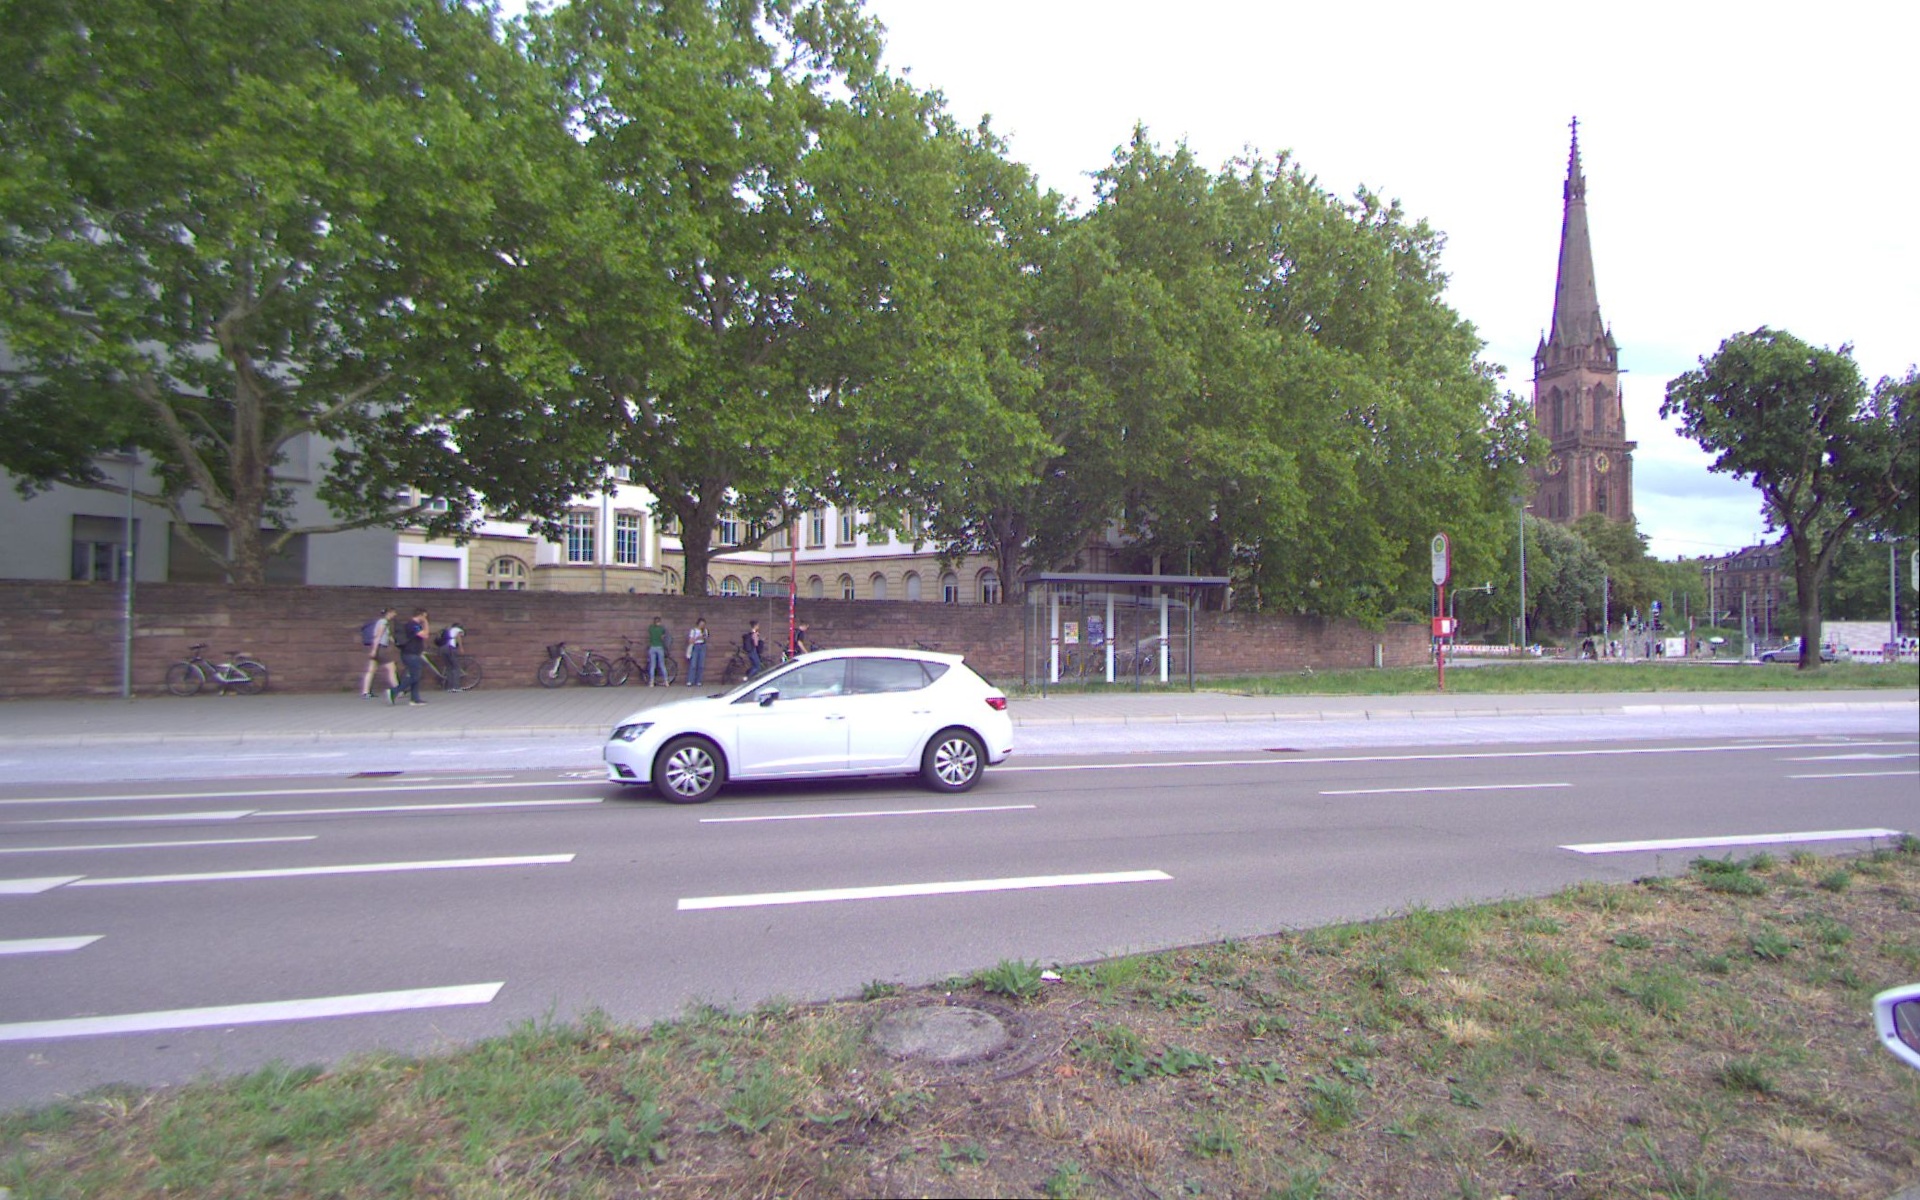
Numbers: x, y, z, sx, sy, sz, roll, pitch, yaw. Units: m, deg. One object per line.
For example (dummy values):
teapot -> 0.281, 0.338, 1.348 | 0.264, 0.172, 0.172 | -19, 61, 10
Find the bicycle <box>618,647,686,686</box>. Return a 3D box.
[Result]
bicycle -> -7.410, 1.596, 24.189 | 1.505, 0.890, 0.345 | 2, 0, -32

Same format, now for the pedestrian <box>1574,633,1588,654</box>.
pedestrian -> 47.584, 3.311, 76.988 | 0.715, 1.581, 0.561 | -2, -1, -20

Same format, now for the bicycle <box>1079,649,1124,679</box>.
bicycle -> 4.651, 2.090, 32.965 | 1.606, 0.919, 0.477 | 2, 0, -38

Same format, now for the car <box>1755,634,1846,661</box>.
car -> 52.599, 2.954, 62.936 | 1.621, 1.671, 4.150 | 1, -2, -19

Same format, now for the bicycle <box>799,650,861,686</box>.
bicycle -> -3.463, 1.803, 26.782 | 1.604, 0.890, 0.438 | 2, 0, -35

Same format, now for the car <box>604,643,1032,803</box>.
car -> -1.450, 1.201, 10.535 | 4.104, 1.462, 1.698 | 1, -3, -13

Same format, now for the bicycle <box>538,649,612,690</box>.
bicycle -> -8.892, 1.600, 23.199 | 1.538, 0.890, 0.414 | 2, 0, -32

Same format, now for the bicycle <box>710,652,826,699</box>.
bicycle -> -3.927, 1.555, 20.689 | 2.295, 0.931, 0.471 | 1, -1, -6

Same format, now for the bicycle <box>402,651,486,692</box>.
bicycle -> -11.236, 1.551, 21.885 | 1.602, 0.838, 0.438 | 2, 0, -32

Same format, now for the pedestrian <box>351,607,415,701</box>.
pedestrian -> -11.427, 1.068, 19.891 | 0.908, 1.806, 0.752 | 3, -2, -42

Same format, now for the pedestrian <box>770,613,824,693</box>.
pedestrian -> -3.803, 1.230, 23.417 | 0.918, 1.806, 0.752 | 3, -2, -42

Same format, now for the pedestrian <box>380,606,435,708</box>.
pedestrian -> -10.108, 1.042, 18.385 | 0.715, 1.805, 0.753 | 3, -3, -38

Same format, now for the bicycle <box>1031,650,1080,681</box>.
bicycle -> 3.006, 2.043, 31.530 | 1.606, 0.919, 0.477 | 2, 0, -38

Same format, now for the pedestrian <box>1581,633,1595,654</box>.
pedestrian -> 47.463, 3.297, 75.935 | 0.715, 1.581, 0.561 | -2, -1, -20

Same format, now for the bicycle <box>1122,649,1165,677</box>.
bicycle -> 6.251, 2.133, 34.145 | 1.606, 0.919, 0.477 | 2, 0, -38

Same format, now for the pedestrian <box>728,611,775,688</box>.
pedestrian -> -5.003, 1.177, 24.124 | 0.778, 1.806, 0.752 | 3, -2, -42

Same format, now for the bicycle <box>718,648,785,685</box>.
bicycle -> -5.286, 1.683, 25.533 | 1.604, 0.890, 0.438 | 2, 0, -35

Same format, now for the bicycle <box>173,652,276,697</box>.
bicycle -> -14.567, 1.467, 19.931 | 1.602, 0.838, 0.438 | 2, 0, -32

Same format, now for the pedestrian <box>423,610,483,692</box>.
pedestrian -> -10.781, 1.084, 21.382 | 0.918, 1.693, 0.752 | 3, -2, -42

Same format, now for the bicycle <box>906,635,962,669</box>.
bicycle -> -0.750, 1.478, 28.740 | 1.605, 0.919, 0.477 | 2, 0, -37
